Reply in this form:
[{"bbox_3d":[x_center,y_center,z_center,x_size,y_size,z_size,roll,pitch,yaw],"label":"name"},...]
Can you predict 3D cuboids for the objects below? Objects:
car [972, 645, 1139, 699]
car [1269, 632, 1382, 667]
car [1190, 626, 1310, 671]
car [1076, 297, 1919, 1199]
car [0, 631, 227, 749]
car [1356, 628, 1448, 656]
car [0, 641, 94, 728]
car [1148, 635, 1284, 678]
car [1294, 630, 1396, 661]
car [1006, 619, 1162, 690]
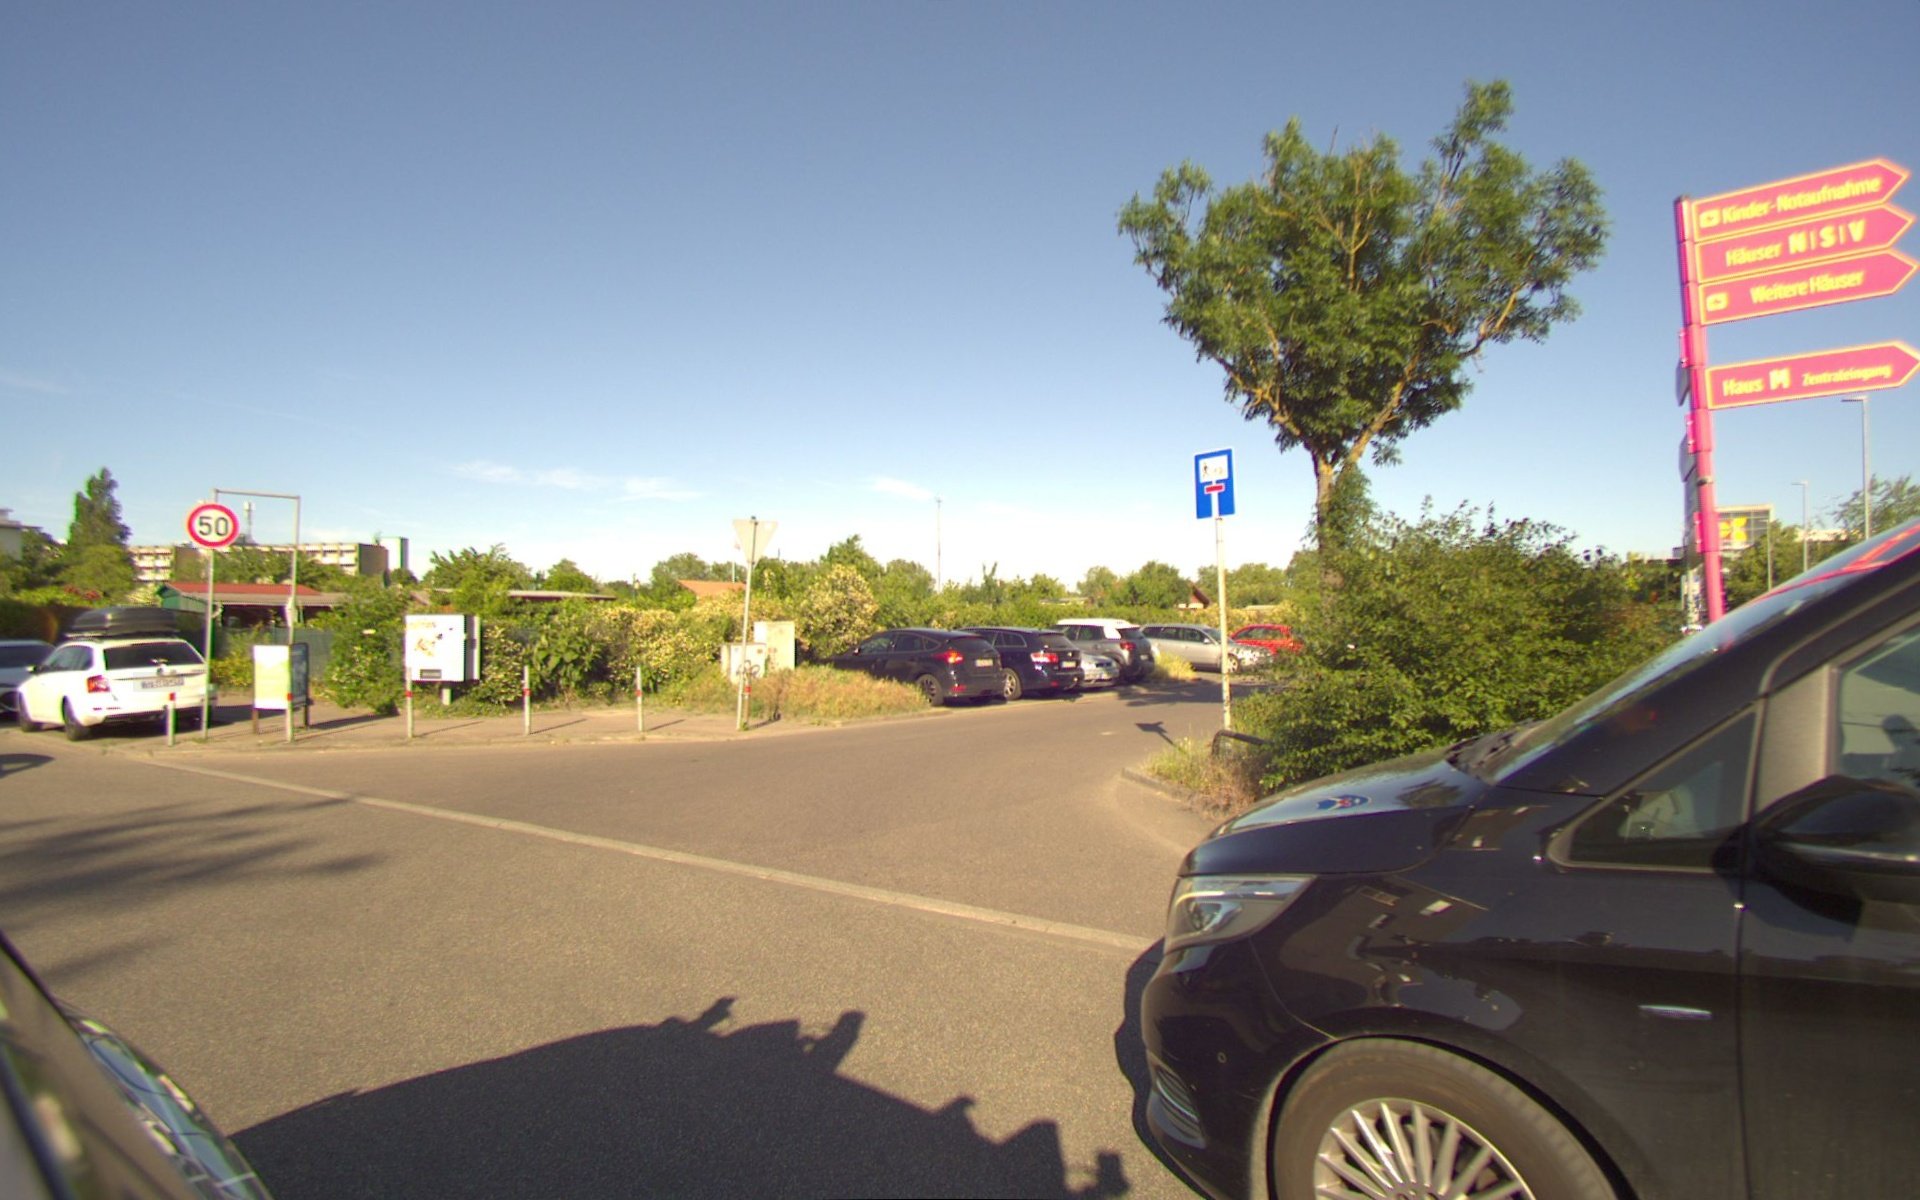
[{"bbox_3d":[2.207,1.659,24.067,3.845,1.160,1.490,-2,-2,42],"label":"car"},{"bbox_3d":[14.090,1.906,39.112,3.837,1.273,1.493,-2,-2,35],"label":"car"},{"bbox_3d":[10.290,1.717,36.080,3.845,1.496,1.490,-2,-2,42],"label":"car"},{"bbox_3d":[2.930,0.523,1.495,5.247,1.882,1.936,-1,-4,38],"label":"car"},{"bbox_3d":[-13.346,1.331,15.854,4.507,1.525,1.681,-2,0,36],"label":"car"},{"bbox_3d":[21.288,2.041,48.813,3.837,1.274,1.493,-2,-5,35],"label":"car"},{"bbox_3d":[-18.566,1.579,19.595,4.533,1.456,1.731,-2,1,37],"label":"car"},{"bbox_3d":[7.881,1.741,31.297,3.837,1.274,1.493,-2,-5,35],"label":"car"},{"bbox_3d":[16.500,1.954,43.412,3.837,1.274,1.493,-2,-5,35],"label":"car"},{"bbox_3d":[3.169,1.379,26.318,3.845,1.707,1.490,-2,-2,42],"label":"car"}]
